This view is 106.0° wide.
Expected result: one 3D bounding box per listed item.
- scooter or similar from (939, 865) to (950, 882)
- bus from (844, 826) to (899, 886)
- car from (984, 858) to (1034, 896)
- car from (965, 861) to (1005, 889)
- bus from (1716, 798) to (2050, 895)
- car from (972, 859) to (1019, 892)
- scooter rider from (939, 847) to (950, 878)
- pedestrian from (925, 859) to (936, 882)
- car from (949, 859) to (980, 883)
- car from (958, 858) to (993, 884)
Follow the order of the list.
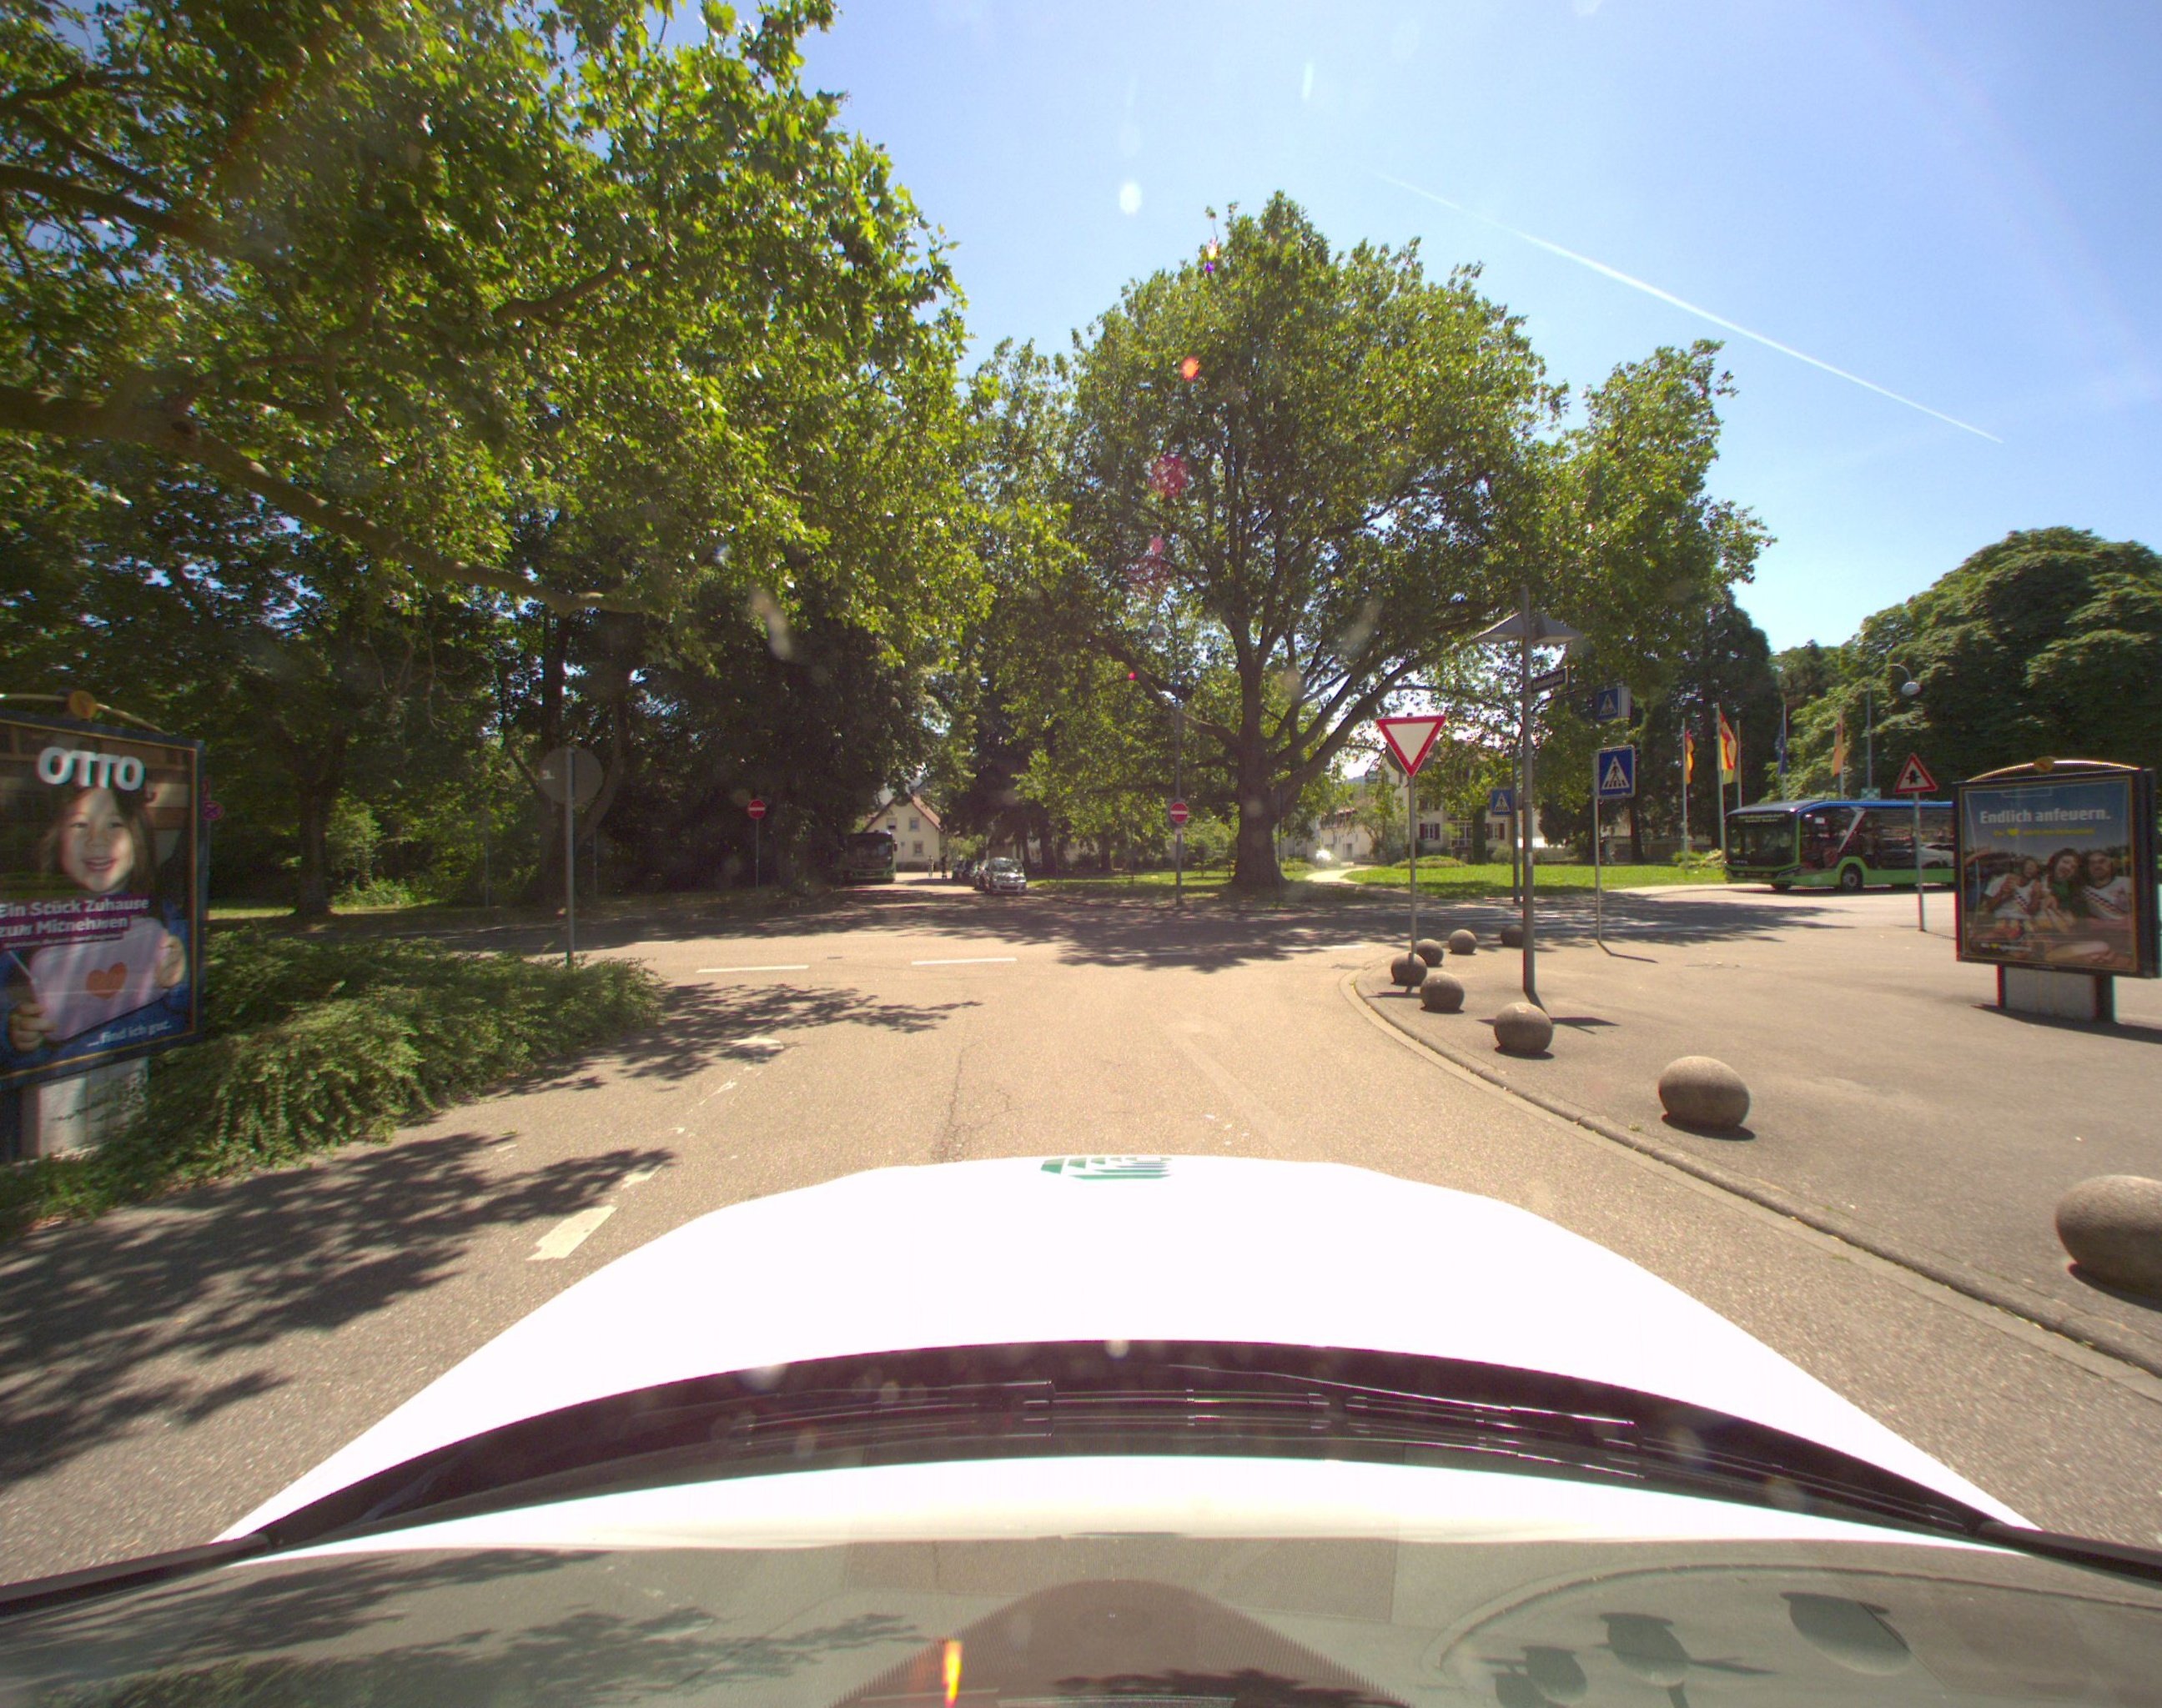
[{"bbox_3d":[-10.205,1.446,60.866,0.739,1.183,1.513,-1,0,-11],"label":"scooter or similar"},{"bbox_3d":[-13.333,0.141,52.905,2.871,3.295,15.882,-1,0,-12],"label":"bus"},{"bbox_3d":[-3.017,0.916,33.642,1.596,1.497,3.471,1,0,-13],"label":"car"},{"bbox_3d":[-5.412,1.120,45.420,1.752,1.439,4.749,-1,0,-13],"label":"car"},{"bbox_3d":[29.970,-0.346,30.393,12.400,3.283,2.805,-1,0,-14],"label":"bus"},{"bbox_3d":[-4.144,1.003,38.891,1.752,1.439,4.483,1,0,-13],"label":"car"},{"bbox_3d":[-10.214,0.629,60.880,0.739,2.317,0.923,-1,0,-11],"label":"scooter rider"},{"bbox_3d":[-11.706,1.281,63.429,0.719,1.802,0.938,-1,0,-7],"label":"pedestrian"},{"bbox_3d":[-7.766,1.113,54.058,1.756,1.493,3.900,-1,0,-13],"label":"car"},{"bbox_3d":[-6.533,1.004,50.019,1.756,1.493,4.356,-1,0,-13],"label":"car"}]
